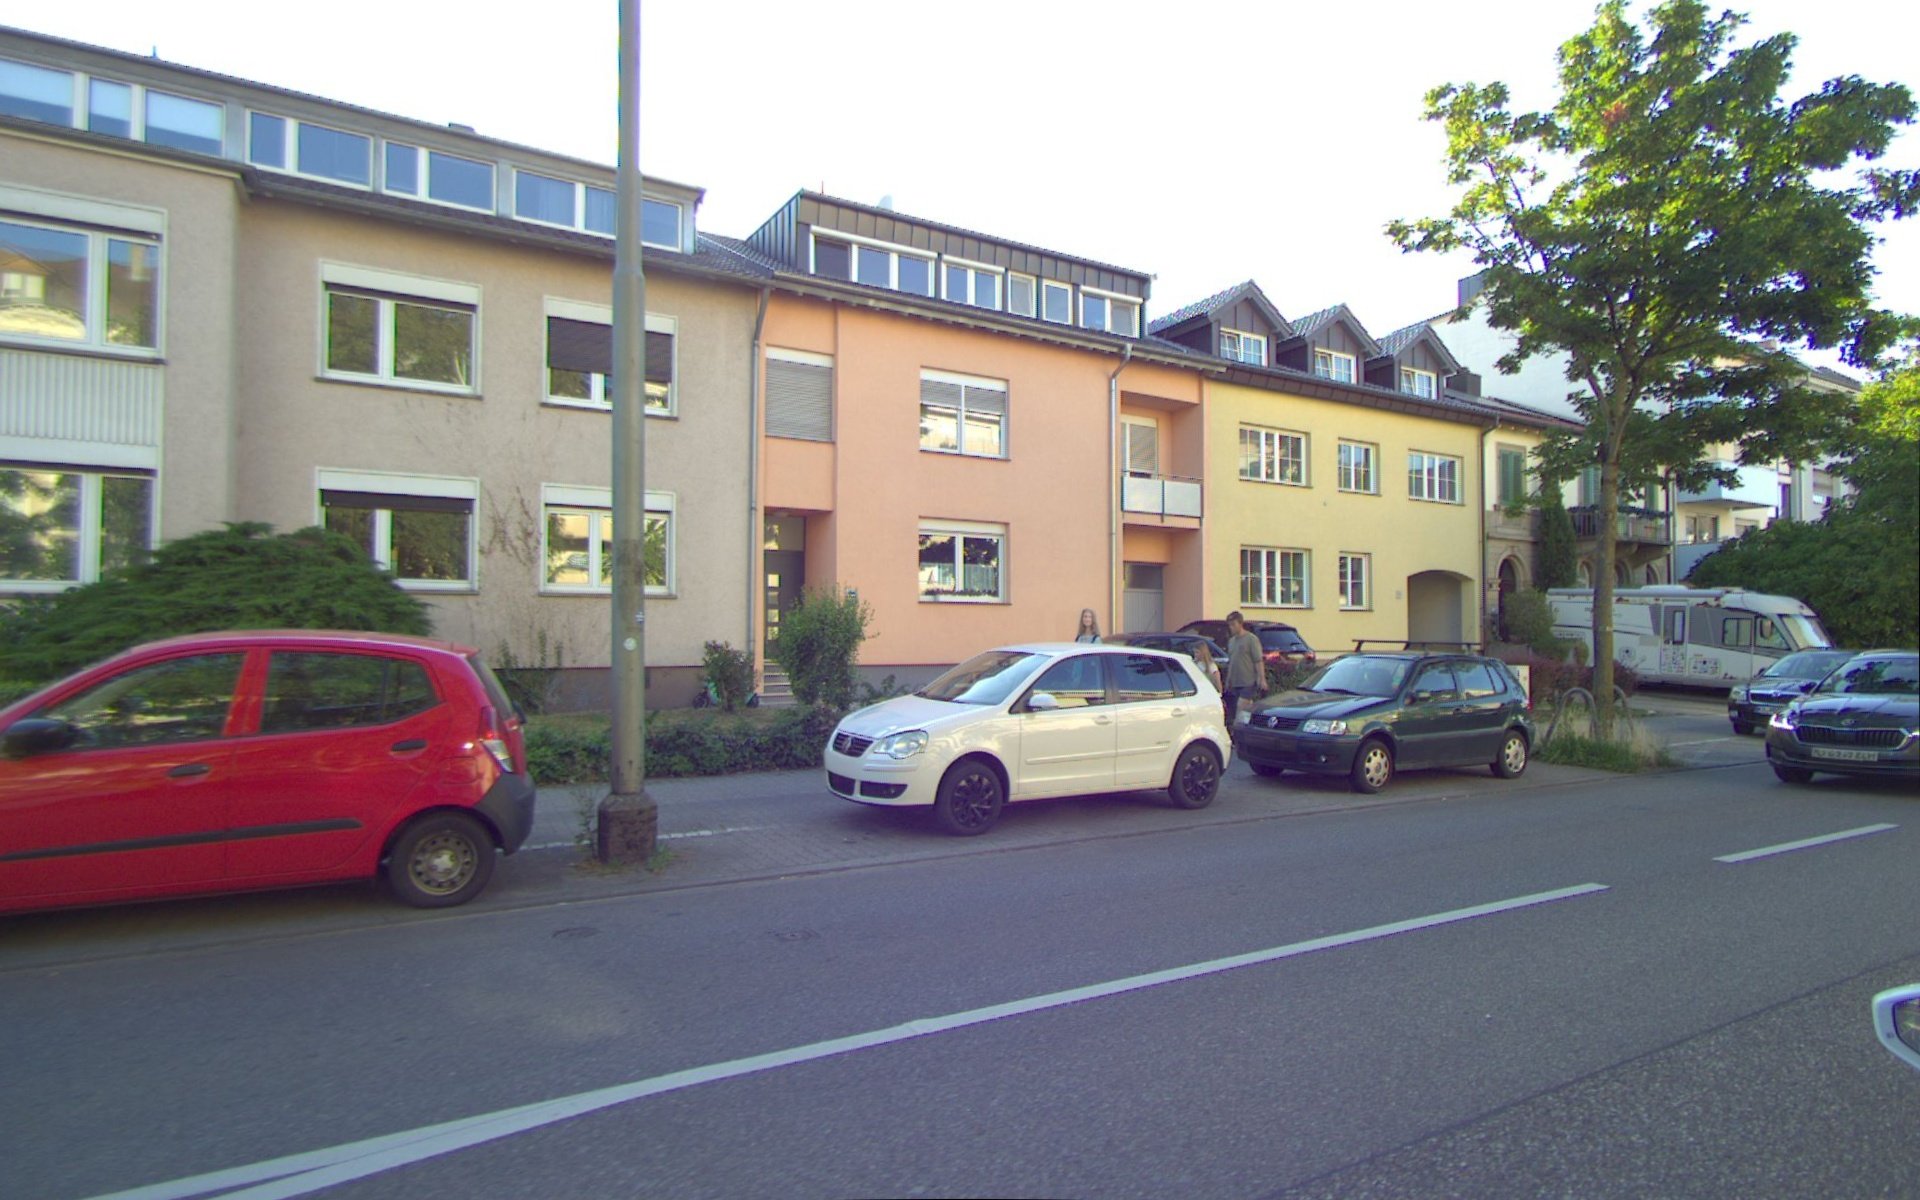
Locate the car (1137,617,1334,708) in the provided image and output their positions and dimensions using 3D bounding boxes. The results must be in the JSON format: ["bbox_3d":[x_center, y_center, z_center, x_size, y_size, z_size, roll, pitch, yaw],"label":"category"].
[{"bbox_3d":[5.764,1.255,21.482,1.843,1.657,3.970,1,0,-28],"label":"car"}]

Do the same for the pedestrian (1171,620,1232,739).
[{"bbox_3d":[3.165,1.029,13.191,0.535,1.515,0.588,1,-2,-27],"label":"pedestrian"}]

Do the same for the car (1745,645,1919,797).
[{"bbox_3d":[11.001,1.266,11.363,4.480,1.471,1.753,2,-4,-30],"label":"car"}]

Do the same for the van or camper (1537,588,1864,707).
[{"bbox_3d":[19.740,1.119,27.277,2.324,2.809,6.765,2,0,-30],"label":"van or camper"}]

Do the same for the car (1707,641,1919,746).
[{"bbox_3d":[14.880,1.498,17.084,4.463,1.514,1.859,2,-1,-30],"label":"car"}]

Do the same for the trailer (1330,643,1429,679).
[{"bbox_3d":[13.131,1.893,31.517,1.608,0.973,2.393,2,0,-29],"label":"trailer"}]

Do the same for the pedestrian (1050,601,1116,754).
[{"bbox_3d":[1.513,0.940,12.407,0.499,1.816,0.711,1,-2,-27],"label":"pedestrian"}]

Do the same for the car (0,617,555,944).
[{"bbox_3d":[-4.240,0.893,5.801,3.392,1.543,1.587,2,-2,-27],"label":"car"}]

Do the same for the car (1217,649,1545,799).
[{"bbox_3d":[4.745,1.264,11.225,3.623,1.415,1.536,2,-2,-30],"label":"car"}]

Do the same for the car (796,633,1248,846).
[{"bbox_3d":[0.632,1.090,9.017,3.846,1.543,1.585,2,-2,-31],"label":"car"}]

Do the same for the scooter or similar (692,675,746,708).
[{"bbox_3d":[-4.299,1.620,17.898,0.859,0.516,0.399,-2,-1,-28],"label":"scooter or similar"}]

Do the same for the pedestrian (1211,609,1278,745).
[{"bbox_3d":[3.941,1.054,13.928,0.564,1.816,0.711,1,-2,-27],"label":"pedestrian"}]

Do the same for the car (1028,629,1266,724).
[{"bbox_3d":[3.130,1.234,16.738,3.706,1.427,1.658,1,-3,-29],"label":"car"}]
